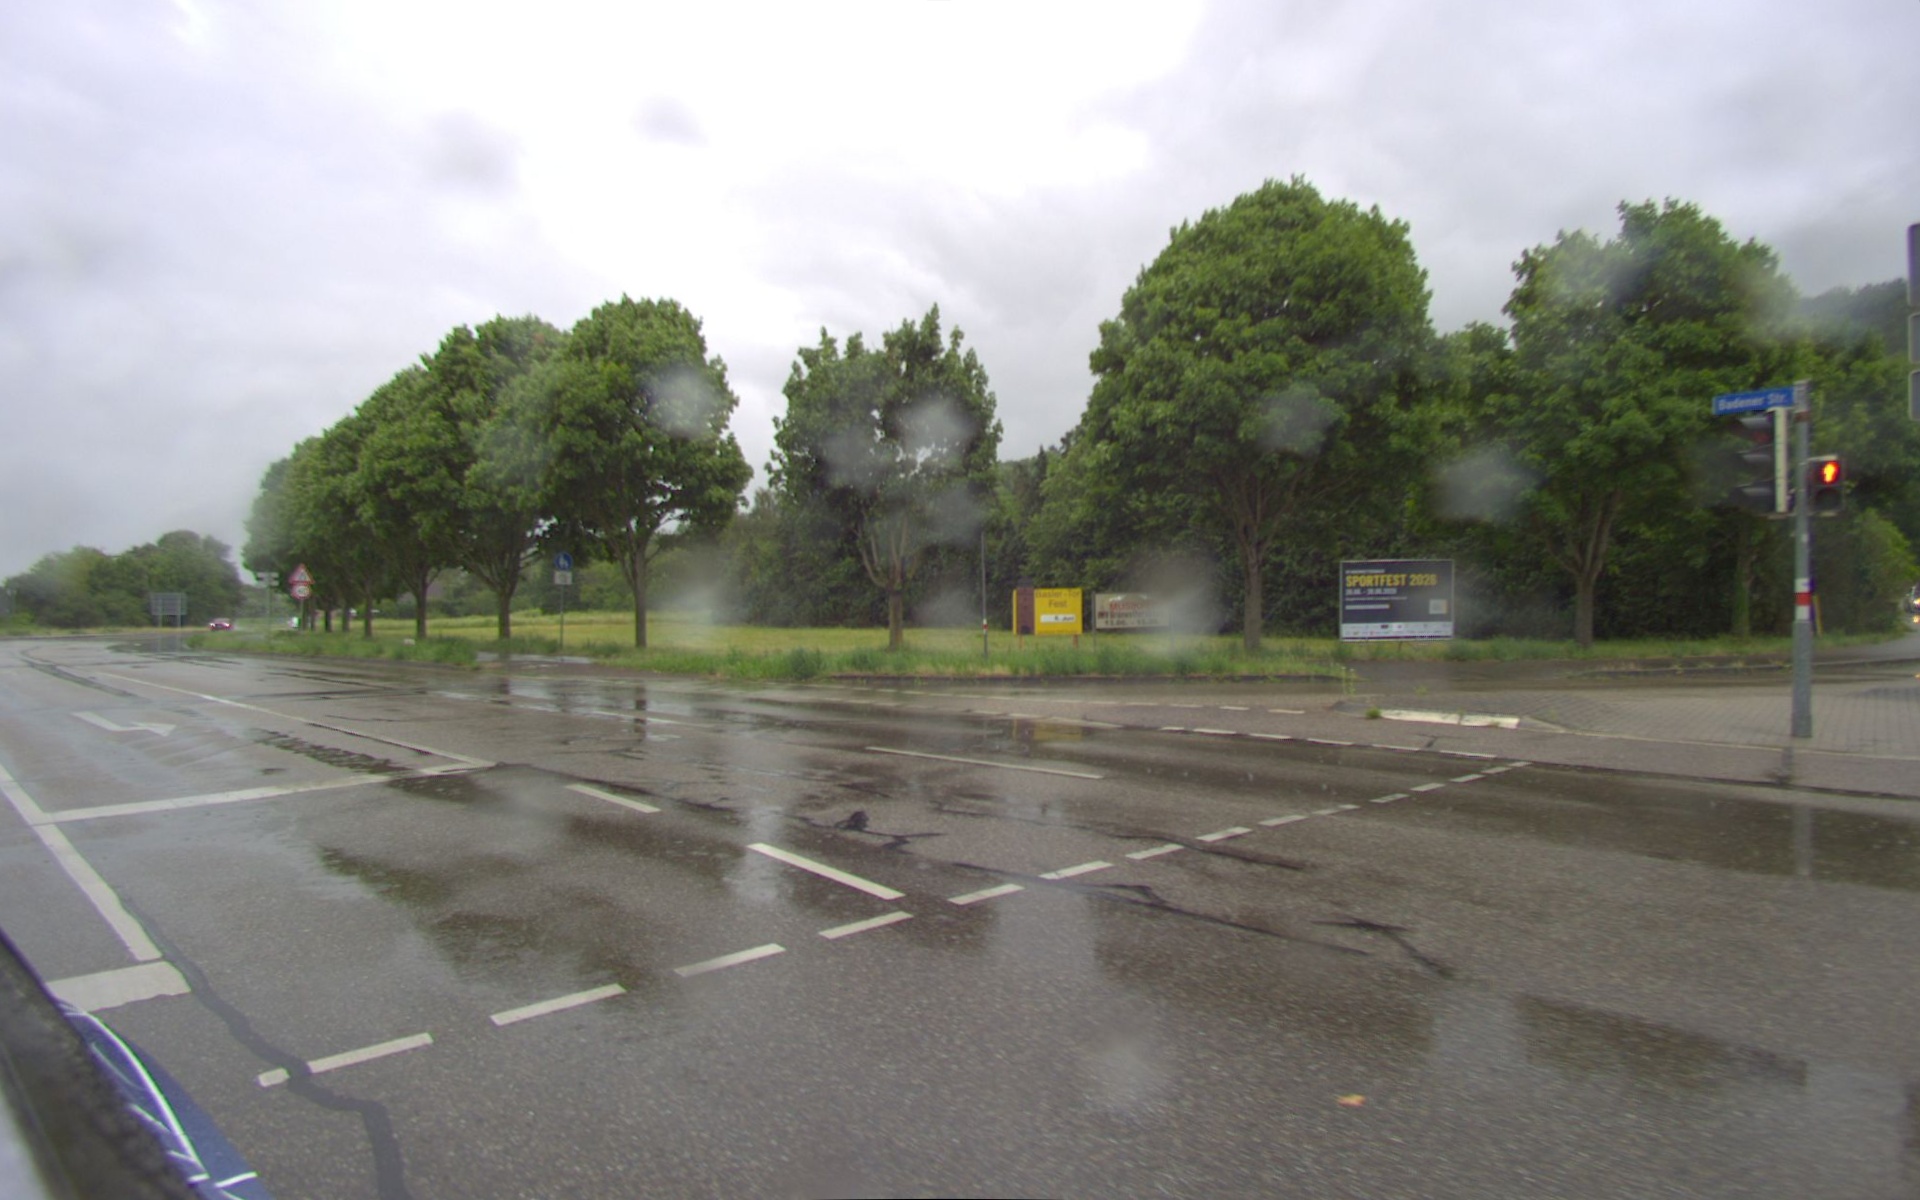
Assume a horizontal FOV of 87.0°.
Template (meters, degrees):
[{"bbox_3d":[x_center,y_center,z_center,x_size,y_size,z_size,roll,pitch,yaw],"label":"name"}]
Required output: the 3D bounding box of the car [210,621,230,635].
[{"bbox_3d":[-95.451,3.616,130.537,1.885,1.701,4.115,0,0,-33],"label":"car"}]

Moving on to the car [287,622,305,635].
[{"bbox_3d":[-106.783,4.540,162.812,2.077,1.907,4.806,-1,0,-29],"label":"car"}]
